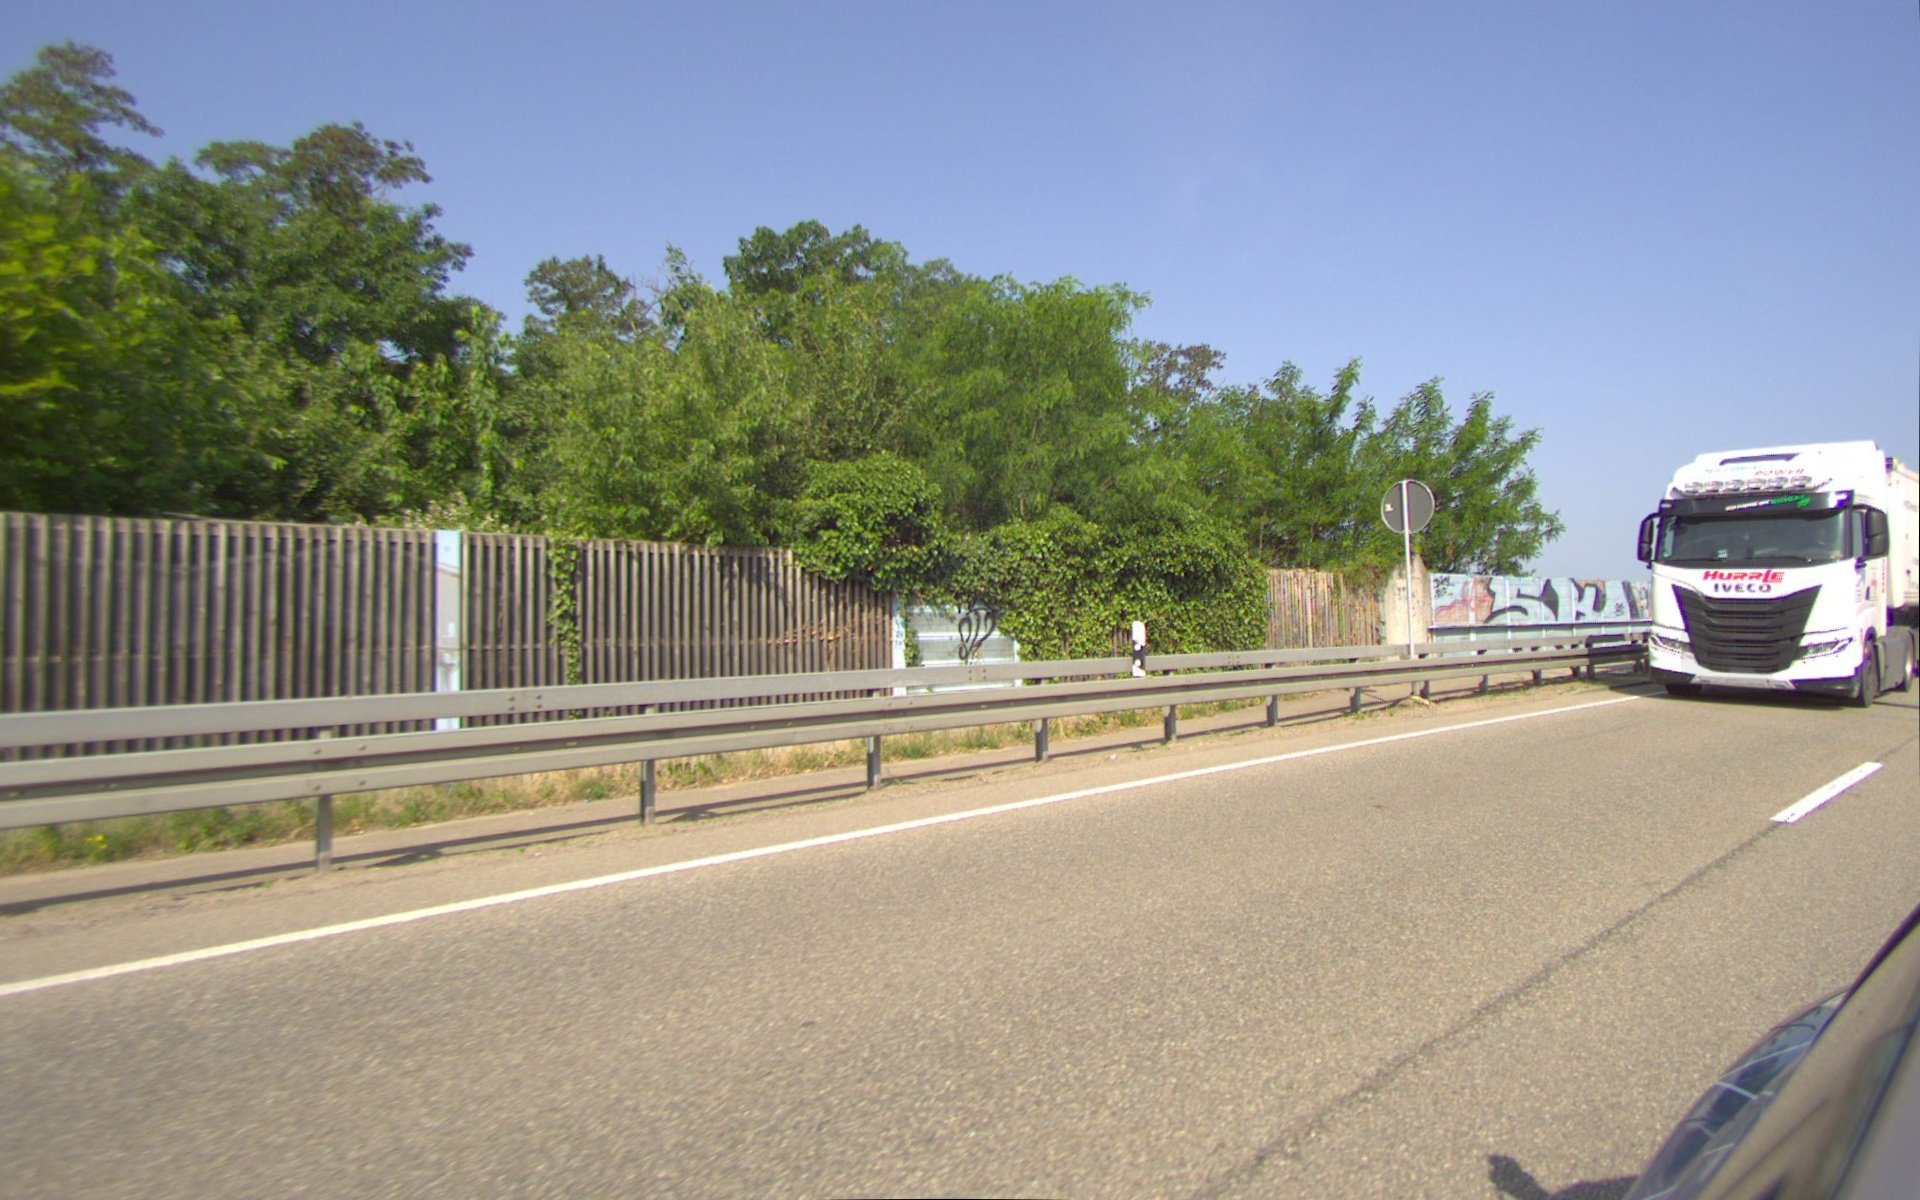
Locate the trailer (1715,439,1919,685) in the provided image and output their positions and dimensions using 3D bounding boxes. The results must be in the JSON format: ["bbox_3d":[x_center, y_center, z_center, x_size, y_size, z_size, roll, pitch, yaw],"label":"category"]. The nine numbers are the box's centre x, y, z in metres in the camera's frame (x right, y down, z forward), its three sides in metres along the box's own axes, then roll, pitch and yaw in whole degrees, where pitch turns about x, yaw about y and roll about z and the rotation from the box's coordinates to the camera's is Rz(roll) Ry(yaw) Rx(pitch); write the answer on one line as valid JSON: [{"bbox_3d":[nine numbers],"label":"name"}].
[{"bbox_3d":[18.190,-0.646,20.339,9.499,3.956,2.685,0,0,-40],"label":"trailer"}]

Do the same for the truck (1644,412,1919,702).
[{"bbox_3d":[13.679,-0.599,16.597,5.547,3.945,2.664,0,0,-40],"label":"truck"}]
